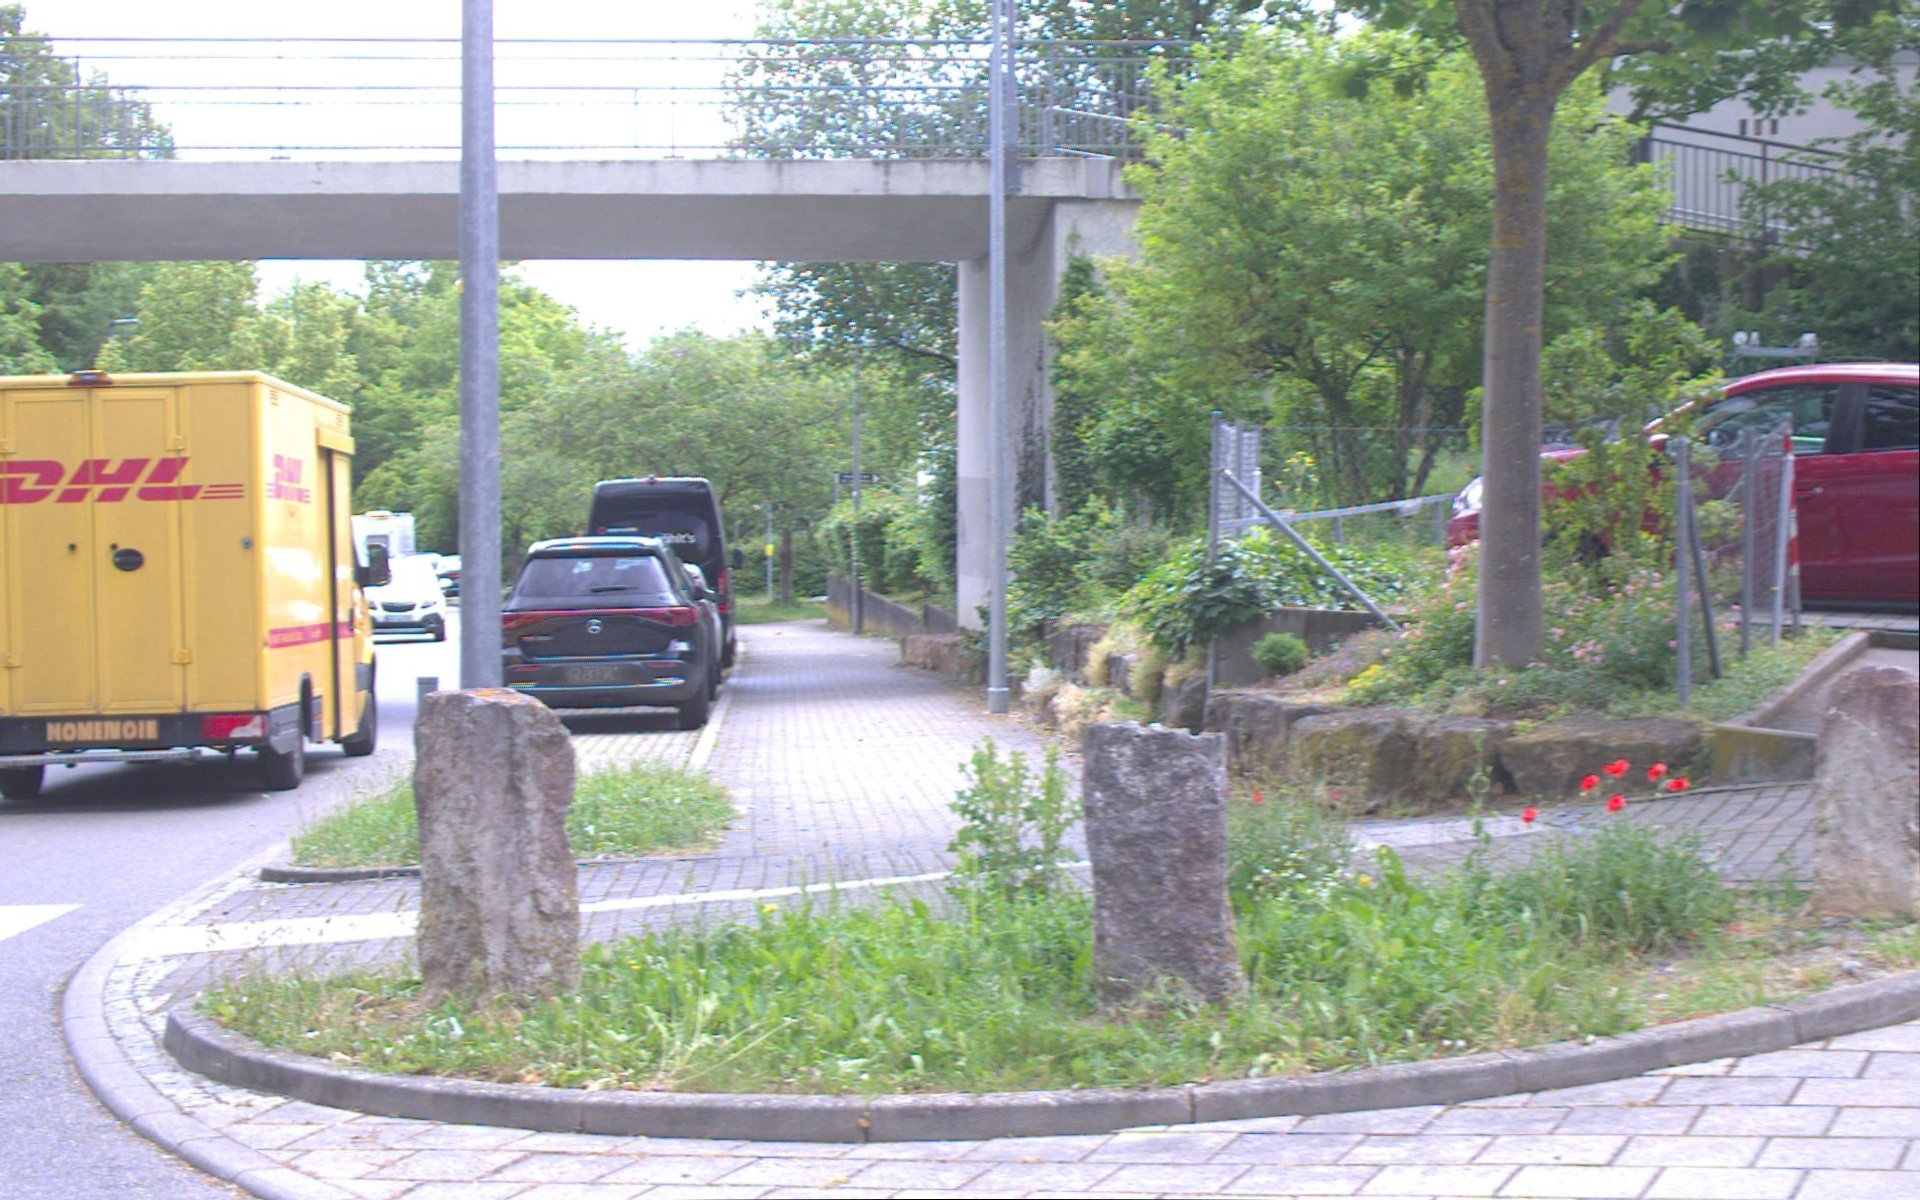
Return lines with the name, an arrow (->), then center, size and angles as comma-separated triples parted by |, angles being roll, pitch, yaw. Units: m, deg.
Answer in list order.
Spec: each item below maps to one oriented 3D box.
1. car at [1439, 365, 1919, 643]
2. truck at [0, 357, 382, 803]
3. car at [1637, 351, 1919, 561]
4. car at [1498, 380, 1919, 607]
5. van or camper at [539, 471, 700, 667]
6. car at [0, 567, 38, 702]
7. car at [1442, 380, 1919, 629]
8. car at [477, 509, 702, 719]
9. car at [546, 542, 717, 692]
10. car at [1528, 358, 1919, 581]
car -> 4.598, -0.535, 18.799 | 3.653, 1.434, 1.683 | 1, 2, 19
truck -> -5.608, -0.166, 24.234 | 2.466, 2.693, 6.825 | 0, 1, -5
car -> 7.958, -1.170, 28.191 | 4.547, 1.662, 1.943 | 1, 2, 16
car -> 5.681, -0.742, 23.704 | 3.653, 1.493, 1.683 | 1, 2, 19
van or camper -> -4.707, -0.426, 48.235 | 1.993, 2.514, 5.471 | -2, 0, -4
car -> -11.809, 0.372, 39.272 | 1.884, 1.504, 4.453 | 0, 1, -7
car -> 4.936, -0.582, 20.637 | 3.791, 1.417, 1.683 | 1, 2, 19
car -> -3.220, 0.188, 30.256 | 1.813, 1.673, 4.370 | -1, -2, -5
car -> -3.461, 0.152, 36.728 | 1.699, 1.491, 4.119 | -1, 1, -4
car -> 6.417, -0.985, 25.946 | 3.990, 1.608, 1.943 | 1, 2, 16
